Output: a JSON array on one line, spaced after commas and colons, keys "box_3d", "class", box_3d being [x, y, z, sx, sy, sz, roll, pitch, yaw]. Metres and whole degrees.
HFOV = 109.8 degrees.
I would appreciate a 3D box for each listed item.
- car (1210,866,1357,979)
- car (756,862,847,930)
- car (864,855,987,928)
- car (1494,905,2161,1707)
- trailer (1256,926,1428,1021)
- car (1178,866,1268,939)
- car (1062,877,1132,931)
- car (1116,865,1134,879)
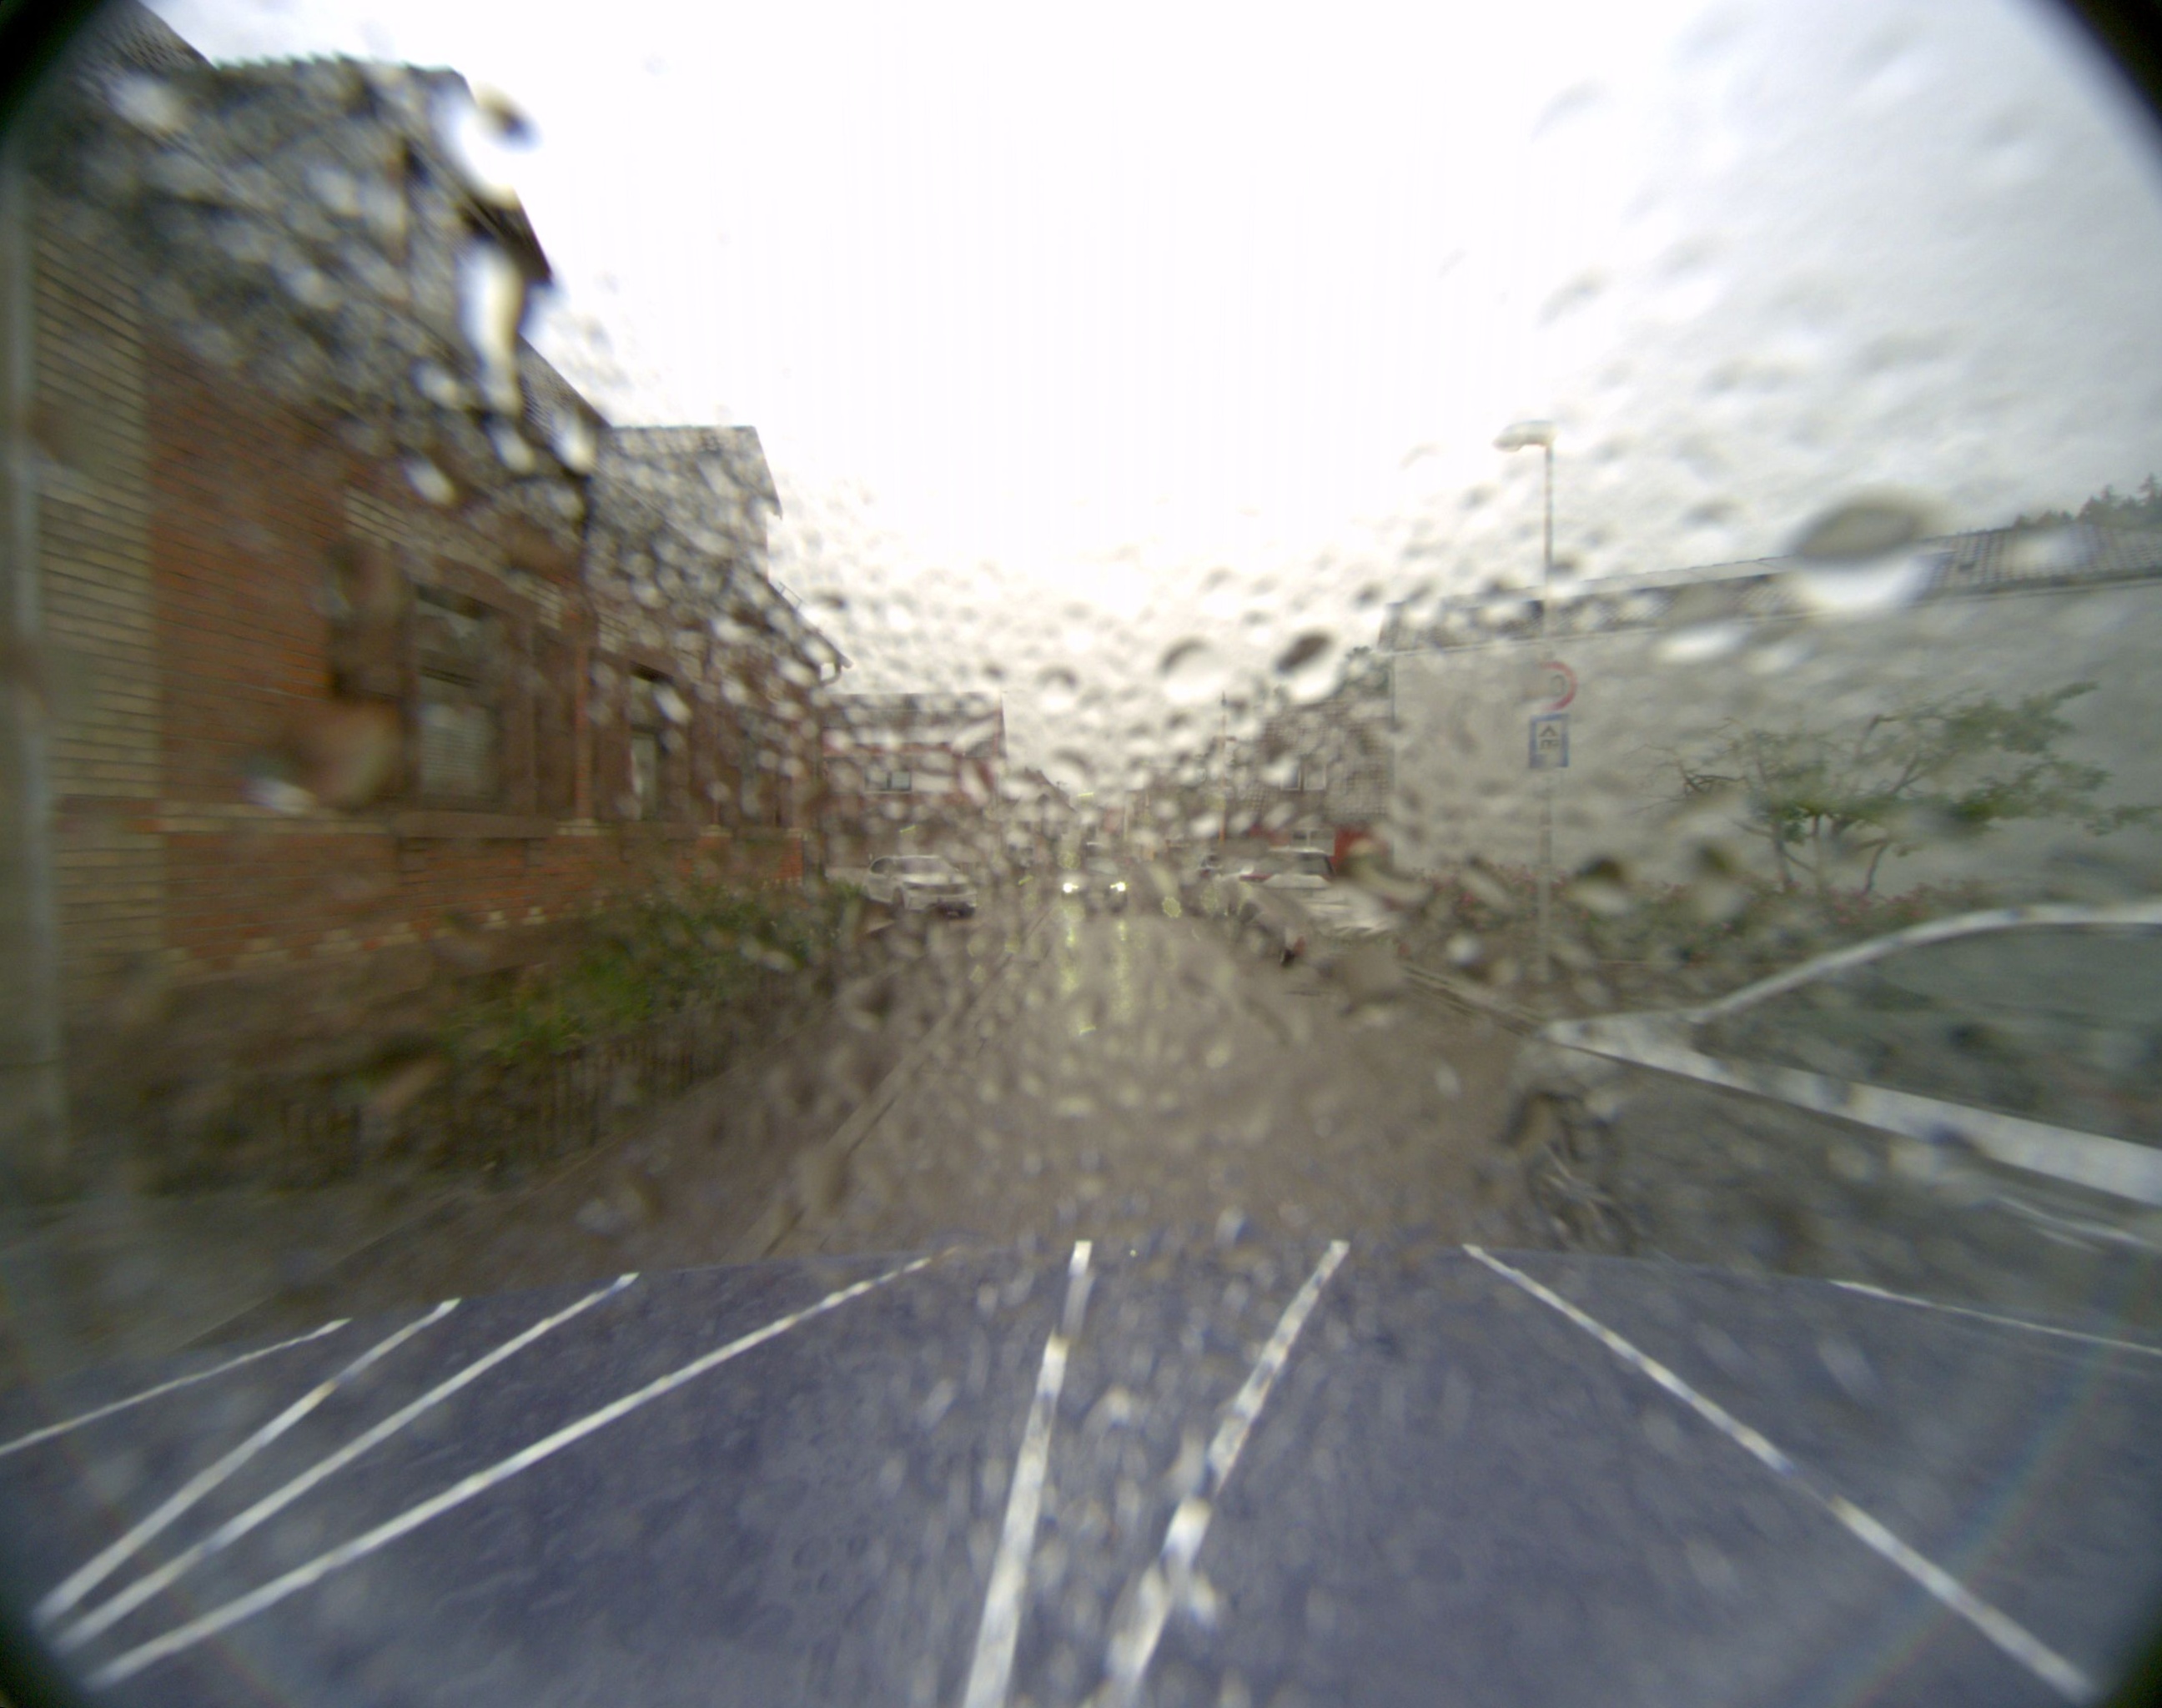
[{"box_3d": [3.575, 1.118, 14.211, 1.815, 1.674, 4.184, 1, 0, 3], "class": "car"}, {"box_3d": [-6.957, 0.961, 18.730, 1.492, 1.433, 3.711, -2, 0, -29], "class": "car"}, {"box_3d": [-4.017, 0.867, 19.133, 1.894, 1.566, 3.882, -2, 0, -29], "class": "car"}, {"box_3d": [2.548, 0.936, 1.239, 1.584, 1.472, 3.715, 2, -1, -2], "class": "car"}, {"box_3d": [3.474, 1.577, 10.631, 1.504, 0.810, 3.006, 1, 0, 3], "class": "trailer"}, {"box_3d": [3.623, 1.186, 20.036, 1.675, 1.607, 4.184, 1, 0, 2], "class": "car"}, {"box_3d": [0.370, 1.364, 21.703, 1.668, 1.290, 3.517, -2, -1, -4], "class": "car"}, {"box_3d": [4.935, 1.998, 84.908, 1.860, 1.497, 4.162, 1, 0, 2], "class": "car"}]
